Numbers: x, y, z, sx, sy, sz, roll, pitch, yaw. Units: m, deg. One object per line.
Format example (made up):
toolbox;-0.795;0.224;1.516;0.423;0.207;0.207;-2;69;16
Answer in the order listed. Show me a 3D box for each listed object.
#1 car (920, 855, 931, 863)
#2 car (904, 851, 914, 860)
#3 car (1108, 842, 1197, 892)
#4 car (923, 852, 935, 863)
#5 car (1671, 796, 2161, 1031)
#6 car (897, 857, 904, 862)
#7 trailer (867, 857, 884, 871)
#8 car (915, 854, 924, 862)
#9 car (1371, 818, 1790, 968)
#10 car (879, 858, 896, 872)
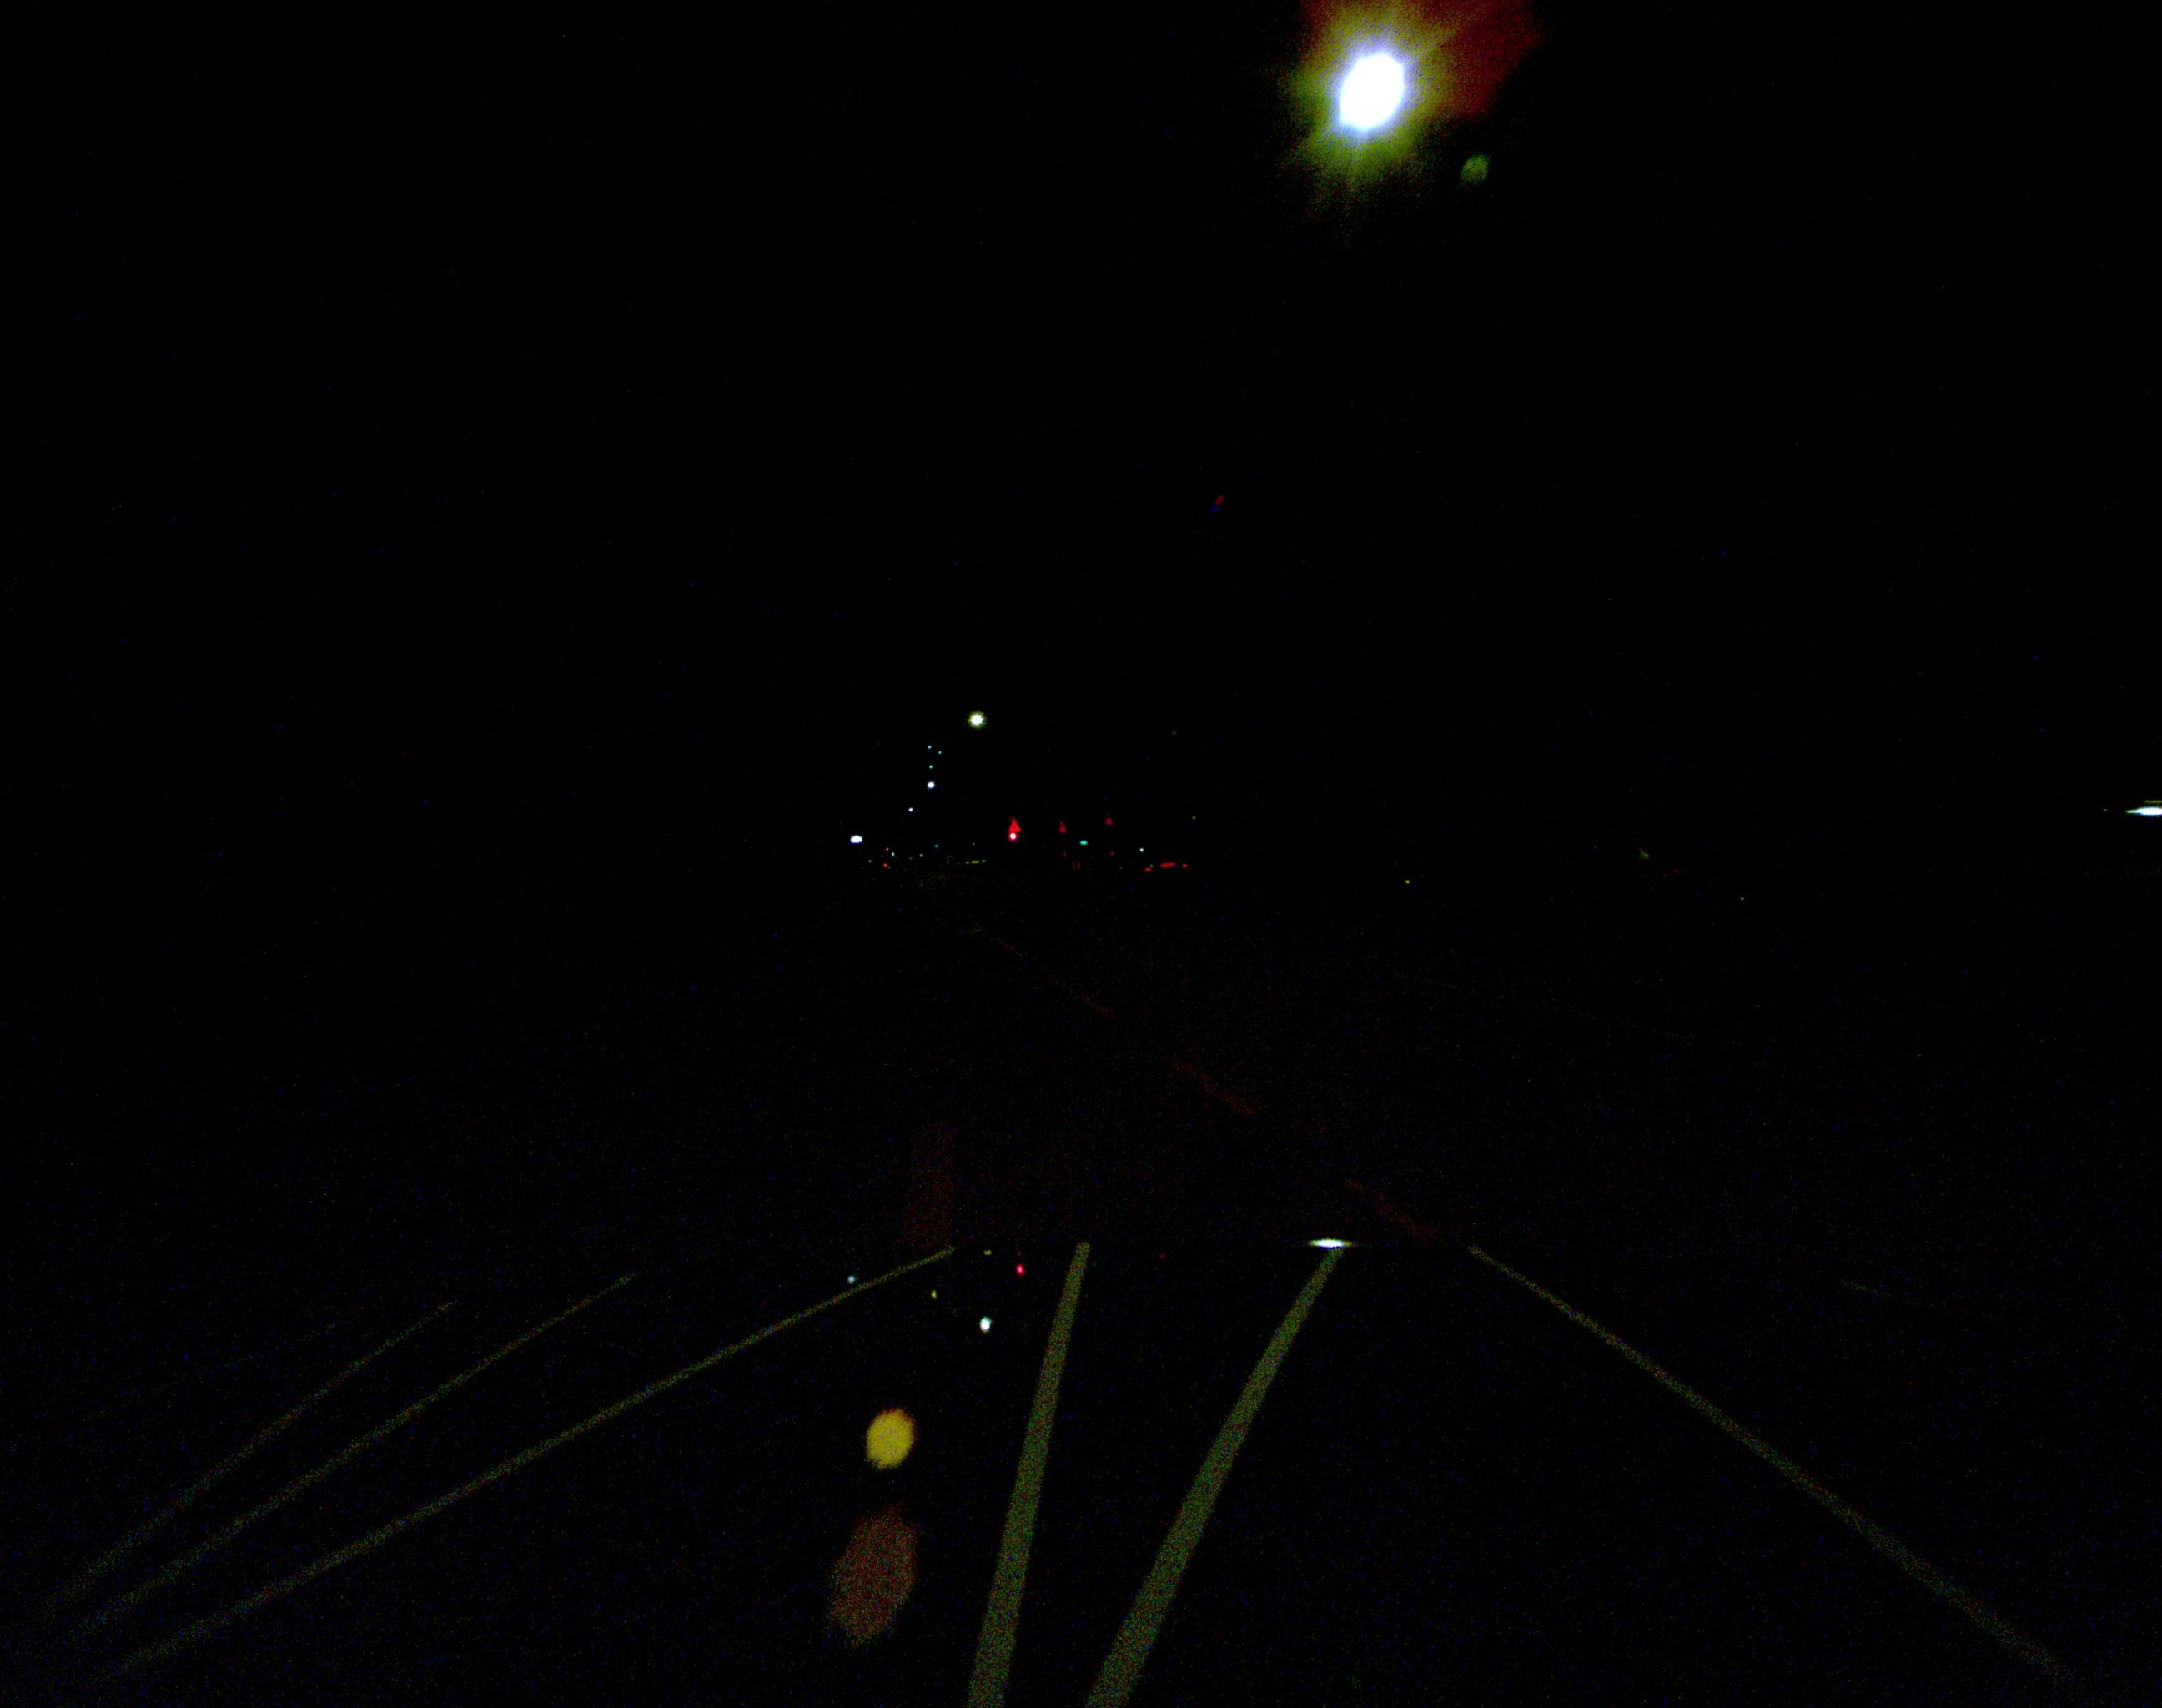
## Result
car;-30.728;0.994;150.155;1.828;1.424;3.726;-7;1;-13
car;-48.572;0.439;214.565;2.007;2.493;4.947;-7;2;-16
car;2.389;0.424;26.349;1.720;1.485;3.985;-5;1;-14
car;-28.877;0.666;144.478;1.884;1.799;3.726;-7;1;-13
car;7.526;0.340;5.637;1.774;1.477;4.857;-3;1;-15
car;-57.080;1.617;240.818;1.828;1.424;3.726;-7;1;-16
trailer;-25.458;1.239;94.095;1.606;1.486;3.730;-5;1;-11
car;-36.545;0.935;171.400;1.828;1.637;3.726;-3;1;-14
car;6.290;0.397;10.415;1.775;1.477;4.761;-3;1;-16
car;-21.765;1.237;85.572;1.592;1.453;3.792;-5;1;-12
